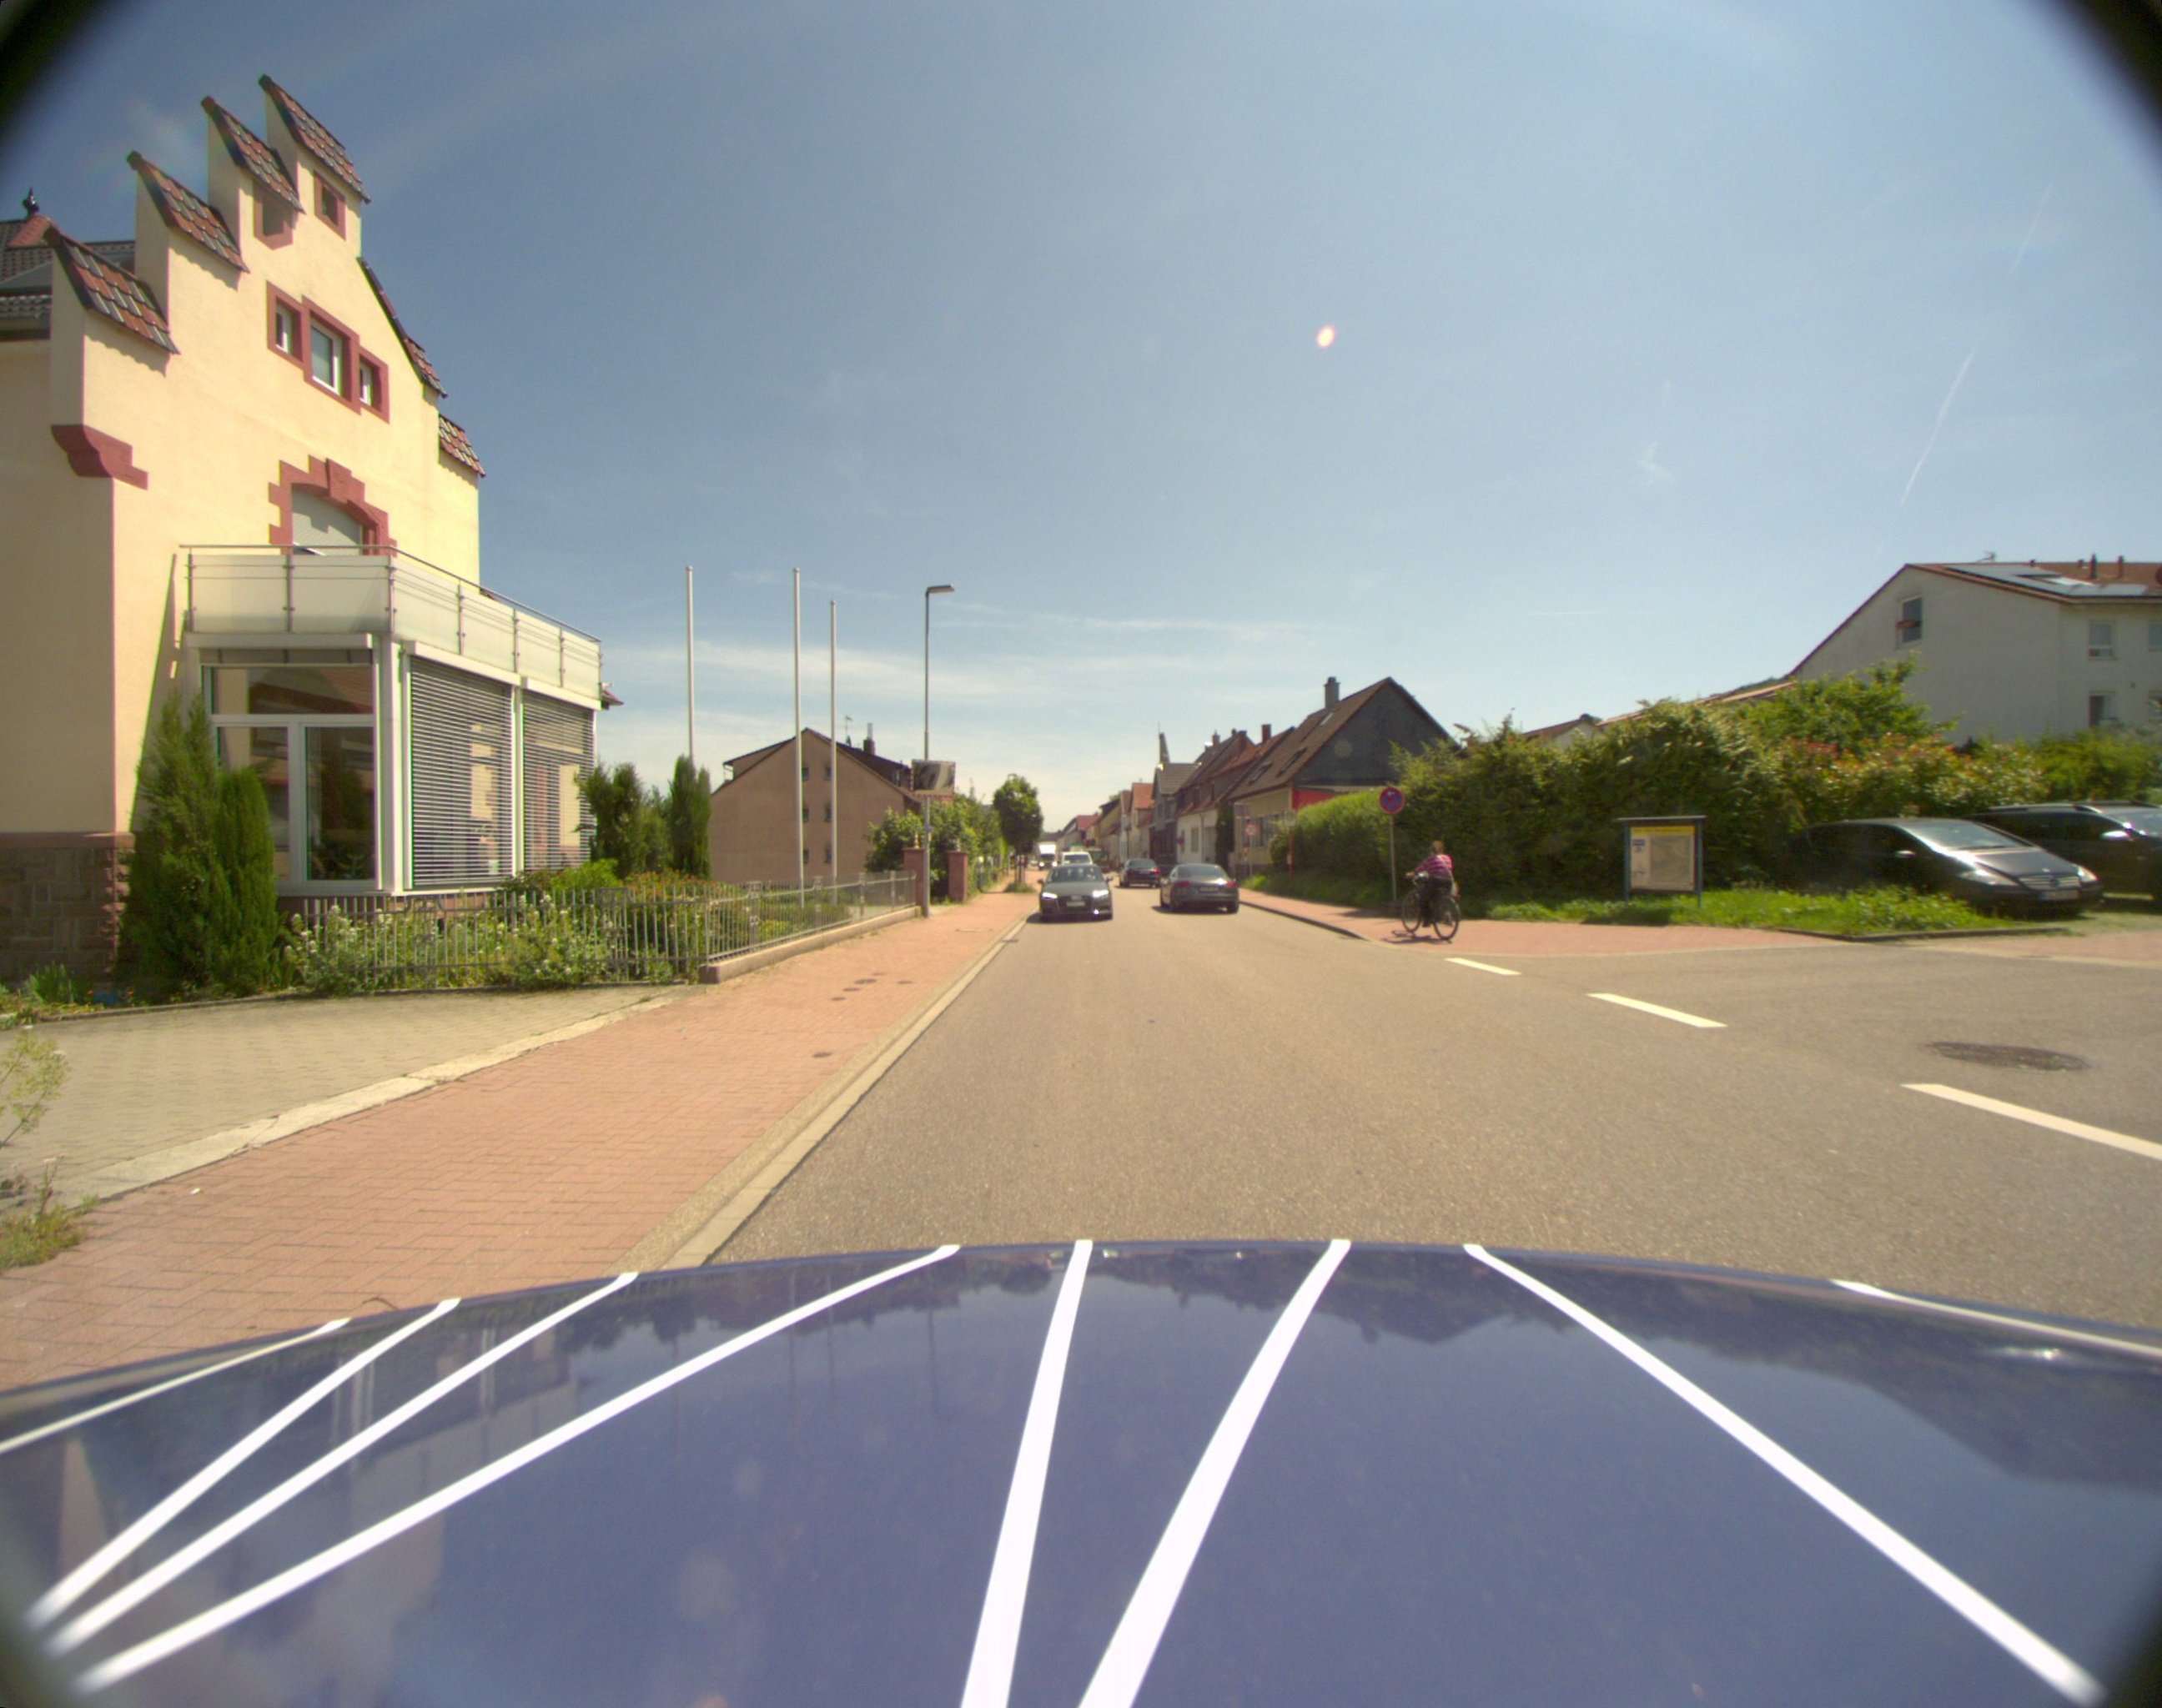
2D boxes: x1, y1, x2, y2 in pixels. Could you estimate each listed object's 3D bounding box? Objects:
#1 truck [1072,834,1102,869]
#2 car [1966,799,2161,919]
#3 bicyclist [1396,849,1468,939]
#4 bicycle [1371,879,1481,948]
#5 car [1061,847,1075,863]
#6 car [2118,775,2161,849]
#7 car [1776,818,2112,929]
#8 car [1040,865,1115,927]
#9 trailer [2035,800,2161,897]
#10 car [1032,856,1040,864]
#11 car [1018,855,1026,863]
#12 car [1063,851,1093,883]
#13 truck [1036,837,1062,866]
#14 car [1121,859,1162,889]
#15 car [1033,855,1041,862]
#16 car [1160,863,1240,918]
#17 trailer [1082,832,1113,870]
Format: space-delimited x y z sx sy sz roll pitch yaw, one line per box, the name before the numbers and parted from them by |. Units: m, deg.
truck | 0.582 -0.299 85.255 2.574 3.679 10.074 0 0 -4
car | 16.978 0.030 12.144 1.627 1.769 3.511 -3 0 4
bicyclist | 6.155 0.678 13.353 0.661 1.485 0.908 -4 1 -12
bicycle | 6.118 1.015 13.613 0.673 1.050 2.024 -4 0 -12
car | -2.092 0.204 119.691 2.035 2.446 6.066 0 0 -3
car | 27.207 -1.070 17.928 3.639 1.724 1.420 -3 1 -2
car | 14.224 0.276 12.885 1.627 1.532 3.652 -3 0 4
car | -0.154 1.019 19.779 1.705 1.346 3.999 -2 0 -2
trailer | 19.489 -0.127 13.557 1.430 1.654 2.691 -5 0 -4
car | -8.595 1.141 144.554 1.508 1.432 3.534 -3 1 -5
car | -11.709 1.039 150.226 1.637 1.572 3.568 1 0 -4
car | -0.226 0.728 45.351 1.637 1.833 3.569 -1 0 -2
truck | -4.262 -0.260 99.086 2.899 3.516 12.948 -1 0 -4
car | 3.073 0.979 39.303 1.734 1.451 4.694 0 0 0
car | -9.279 0.977 161.062 1.508 1.432 3.534 -3 1 -5
car | 3.314 0.980 21.770 1.710 1.362 3.868 1 0 1
trailer | 1.536 -0.290 76.839 2.537 3.627 8.459 0 0 -3
